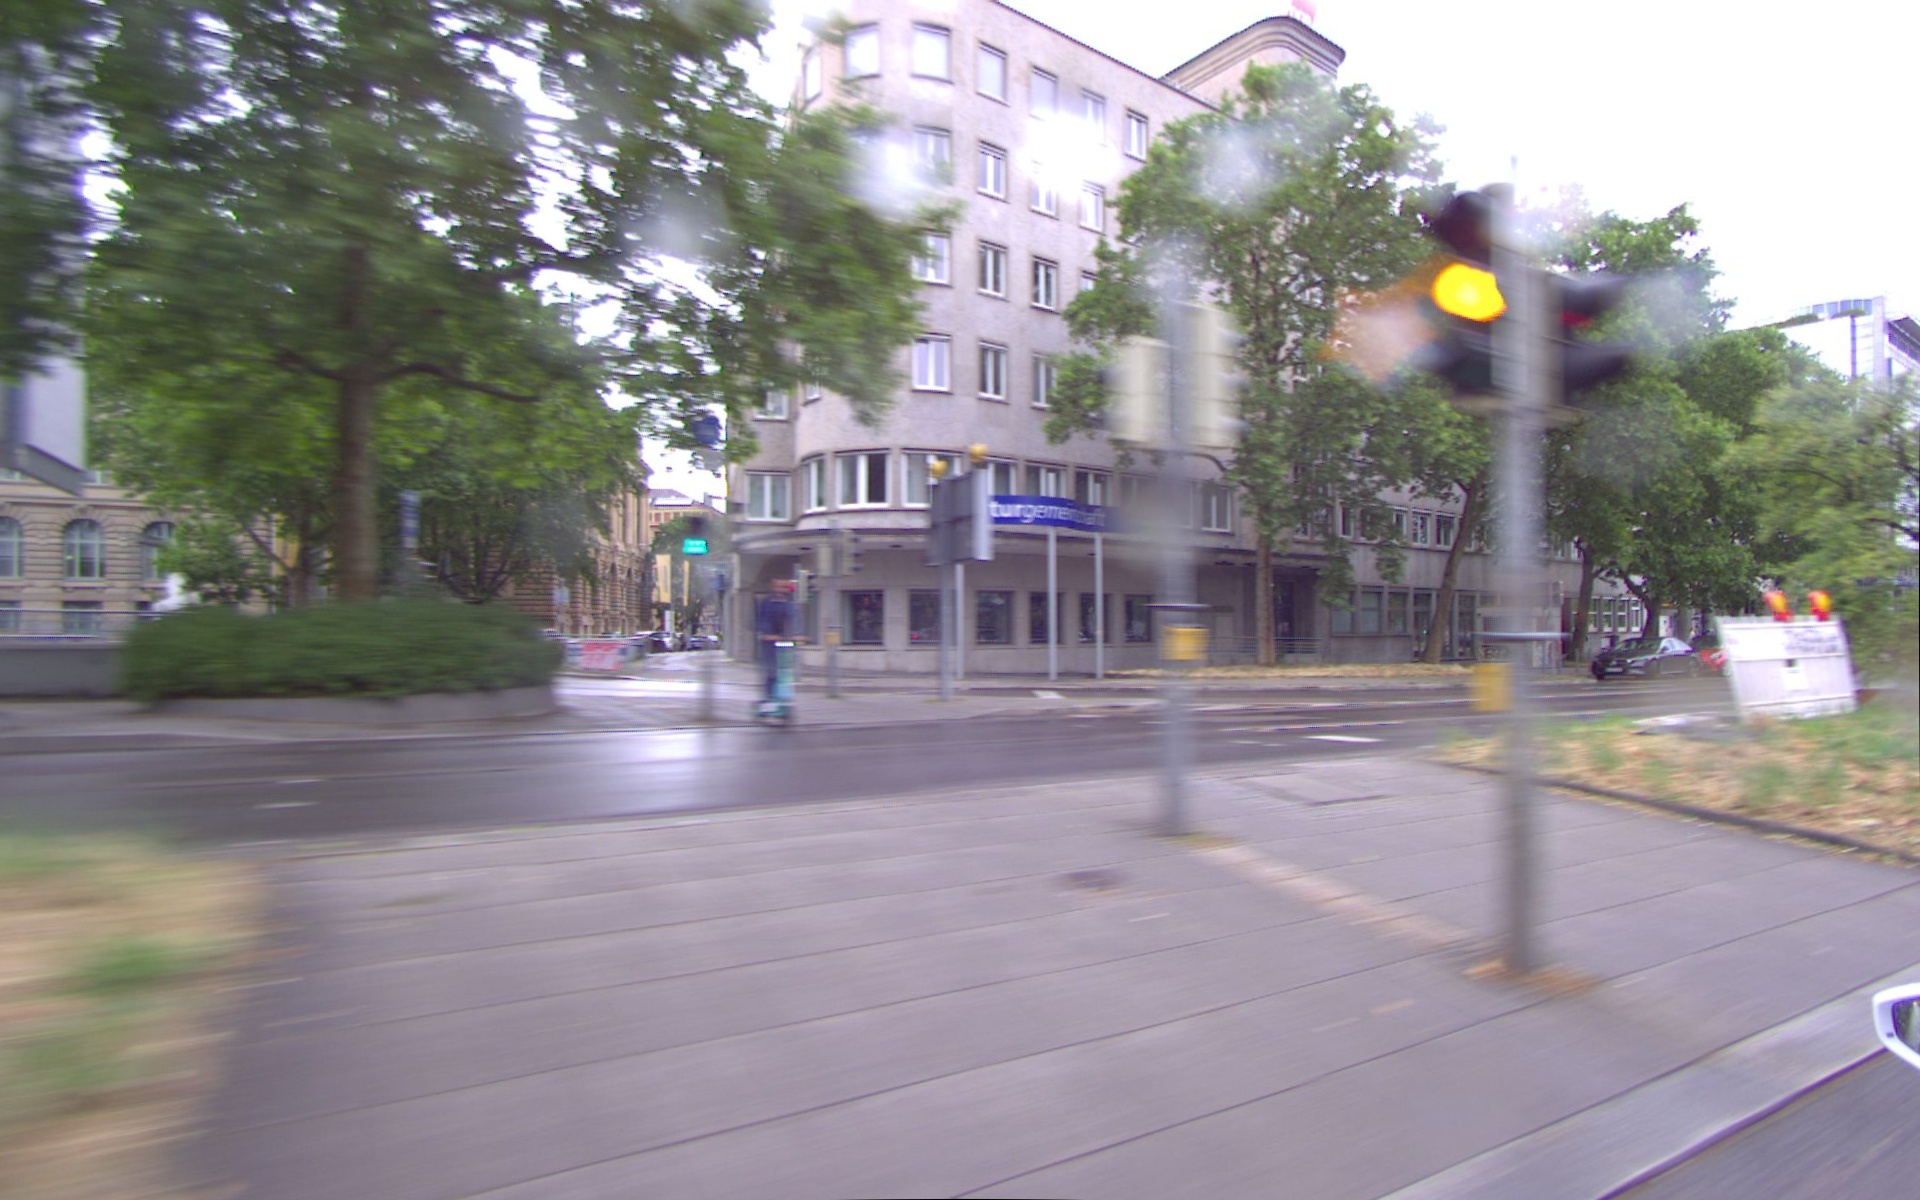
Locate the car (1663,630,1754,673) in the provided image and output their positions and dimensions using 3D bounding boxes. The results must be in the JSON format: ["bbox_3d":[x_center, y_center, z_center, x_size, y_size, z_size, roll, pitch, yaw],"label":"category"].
[{"bbox_3d":[28.509,1.963,38.248,3.589,1.539,1.677,2,-4,-34],"label":"car"}]

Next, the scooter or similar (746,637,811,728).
[{"bbox_3d":[-2.434,1.070,13.401,0.430,1.128,1.175,1,-1,-32],"label":"scooter or similar"}]

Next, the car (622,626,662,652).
[{"bbox_3d":[-19.357,2.363,61.358,1.736,1.416,3.841,1,-1,-9],"label":"car"}]

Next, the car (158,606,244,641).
[{"bbox_3d":[-35.186,1.058,46.682,1.715,1.572,3.971,1,0,-13],"label":"car"}]

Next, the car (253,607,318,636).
[{"bbox_3d":[-37.883,1.171,56.527,1.715,1.572,3.971,1,0,-13],"label":"car"}]

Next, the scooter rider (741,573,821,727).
[{"bbox_3d":[-2.404,0.651,13.455,0.749,1.966,0.894,1,-1,-33],"label":"scooter rider"}]

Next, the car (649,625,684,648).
[{"bbox_3d":[-19.673,2.441,67.447,1.736,1.416,3.841,1,-1,-9],"label":"car"}]

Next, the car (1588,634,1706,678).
[{"bbox_3d":[24.239,1.956,35.388,4.622,1.453,1.759,1,-4,-33],"label":"car"}]

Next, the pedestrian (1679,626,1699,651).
[{"bbox_3d":[49.428,2.633,68.099,0.672,1.667,0.984,1,-2,-43],"label":"pedestrian"}]
